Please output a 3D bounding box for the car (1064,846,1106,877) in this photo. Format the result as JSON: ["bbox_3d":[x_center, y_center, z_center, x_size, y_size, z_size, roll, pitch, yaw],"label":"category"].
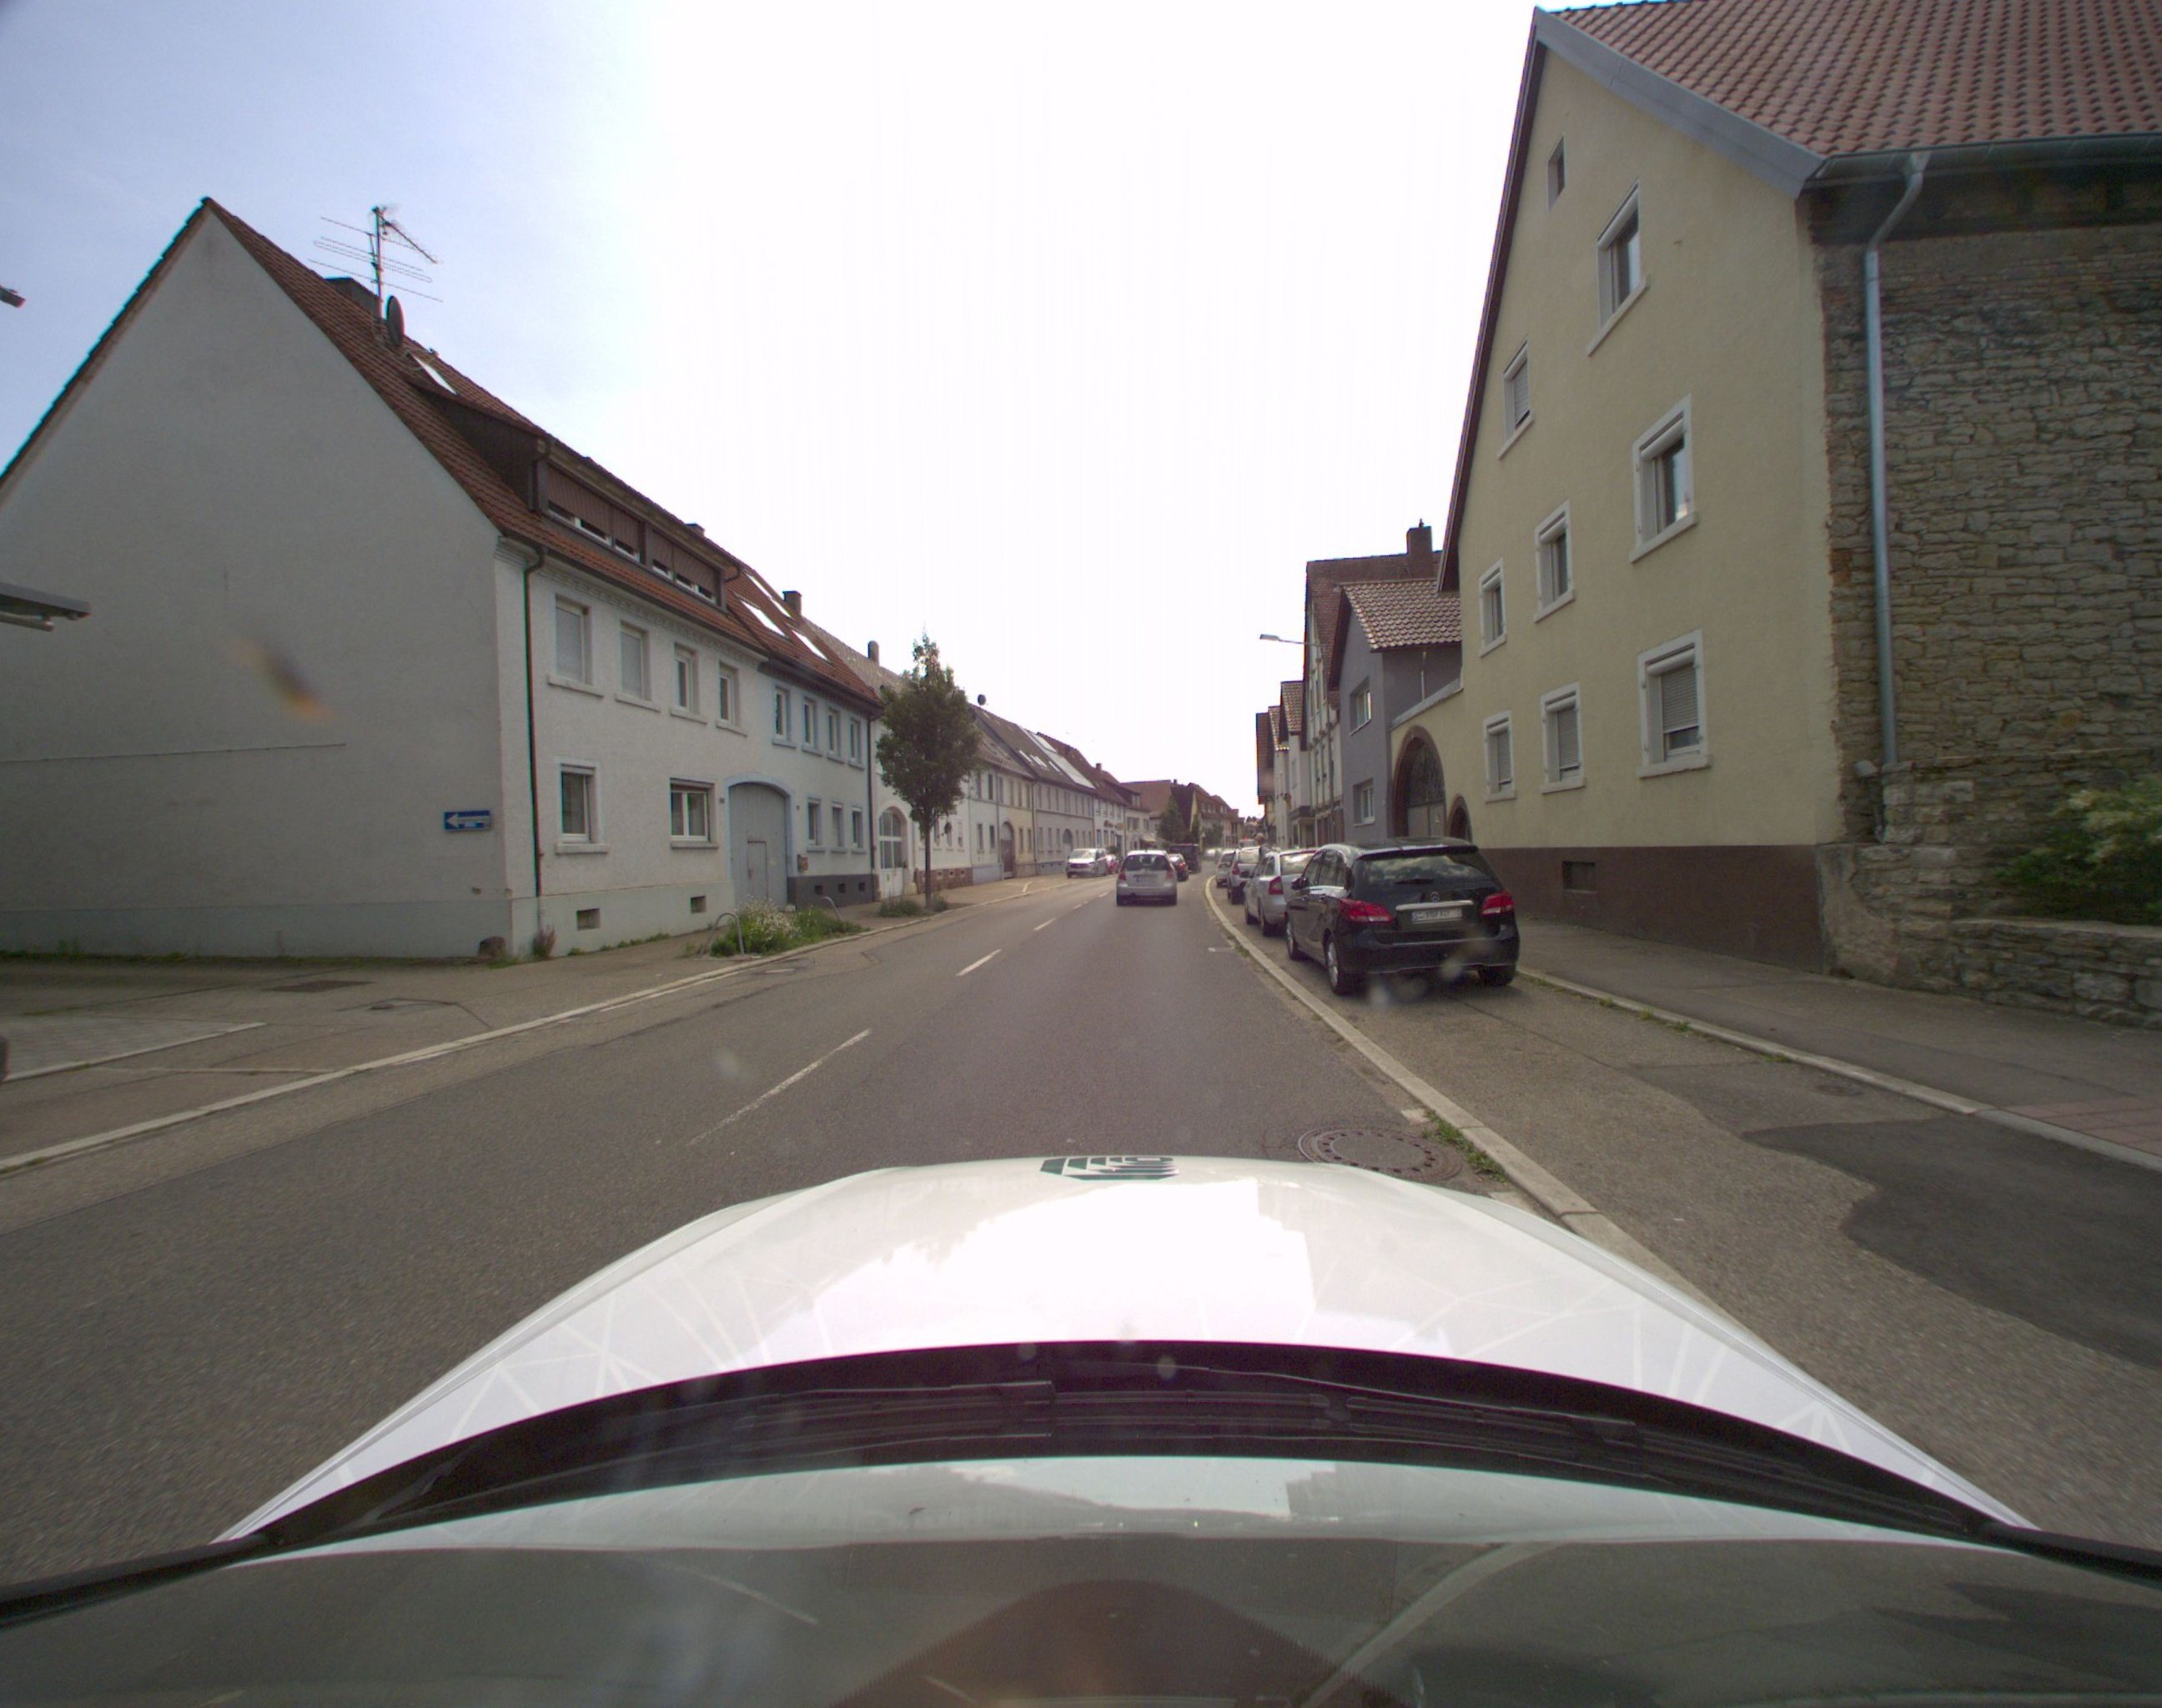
[{"bbox_3d":[0.310,0.458,54.170,2.079,1.884,4.010,-3,0,9],"label":"car"}]

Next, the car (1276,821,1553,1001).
[{"bbox_3d":[3.559,0.521,9.568,1.983,1.559,4.009,-4,0,7],"label":"car"}]

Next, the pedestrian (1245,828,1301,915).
[{"bbox_3d":[4.299,0.381,18.233,1.087,1.821,1.475,-3,0,13],"label":"pedestrian"}]

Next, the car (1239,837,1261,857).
[{"bbox_3d":[20.371,-0.795,97.996,2.220,2.222,4.015,-4,-1,14],"label":"car"}]

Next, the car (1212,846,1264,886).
[{"bbox_3d":[6.390,0.485,33.492,1.850,1.463,3.458,-4,-1,8],"label":"car"}]

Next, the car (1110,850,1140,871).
[{"bbox_3d":[3.810,0.548,69.982,1.779,1.649,4.014,-4,-1,13],"label":"car"}]

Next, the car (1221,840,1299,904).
[{"bbox_3d":[5.169,0.491,23.975,1.850,1.626,4.206,-4,-1,8],"label":"car"}]

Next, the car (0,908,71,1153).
[{"bbox_3d":[-7.559,1.118,3.223,1.797,1.460,4.161,-2,0,3],"label":"car"}]

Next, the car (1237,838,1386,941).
[{"bbox_3d":[4.062,0.583,15.048,1.852,1.531,4.203,-3,-1,5],"label":"car"}]

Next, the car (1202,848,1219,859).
[{"bbox_3d":[17.389,-0.080,109.135,1.691,1.269,4.018,-4,-1,17],"label":"car"}]

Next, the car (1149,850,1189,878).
[{"bbox_3d":[4.703,0.509,42.979,1.934,1.407,4.009,0,0,8],"label":"car"}]

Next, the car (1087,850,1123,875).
[{"bbox_3d":[1.872,0.608,61.460,1.980,1.706,4.013,-4,-1,11],"label":"car"}]

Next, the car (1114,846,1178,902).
[{"bbox_3d":[2.077,0.577,25.066,1.759,1.595,4.008,0,-1,7],"label":"car"}]

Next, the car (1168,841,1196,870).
[{"bbox_3d":[6.984,0.098,56.035,1.758,1.888,4.459,0,-1,10],"label":"car"}]
